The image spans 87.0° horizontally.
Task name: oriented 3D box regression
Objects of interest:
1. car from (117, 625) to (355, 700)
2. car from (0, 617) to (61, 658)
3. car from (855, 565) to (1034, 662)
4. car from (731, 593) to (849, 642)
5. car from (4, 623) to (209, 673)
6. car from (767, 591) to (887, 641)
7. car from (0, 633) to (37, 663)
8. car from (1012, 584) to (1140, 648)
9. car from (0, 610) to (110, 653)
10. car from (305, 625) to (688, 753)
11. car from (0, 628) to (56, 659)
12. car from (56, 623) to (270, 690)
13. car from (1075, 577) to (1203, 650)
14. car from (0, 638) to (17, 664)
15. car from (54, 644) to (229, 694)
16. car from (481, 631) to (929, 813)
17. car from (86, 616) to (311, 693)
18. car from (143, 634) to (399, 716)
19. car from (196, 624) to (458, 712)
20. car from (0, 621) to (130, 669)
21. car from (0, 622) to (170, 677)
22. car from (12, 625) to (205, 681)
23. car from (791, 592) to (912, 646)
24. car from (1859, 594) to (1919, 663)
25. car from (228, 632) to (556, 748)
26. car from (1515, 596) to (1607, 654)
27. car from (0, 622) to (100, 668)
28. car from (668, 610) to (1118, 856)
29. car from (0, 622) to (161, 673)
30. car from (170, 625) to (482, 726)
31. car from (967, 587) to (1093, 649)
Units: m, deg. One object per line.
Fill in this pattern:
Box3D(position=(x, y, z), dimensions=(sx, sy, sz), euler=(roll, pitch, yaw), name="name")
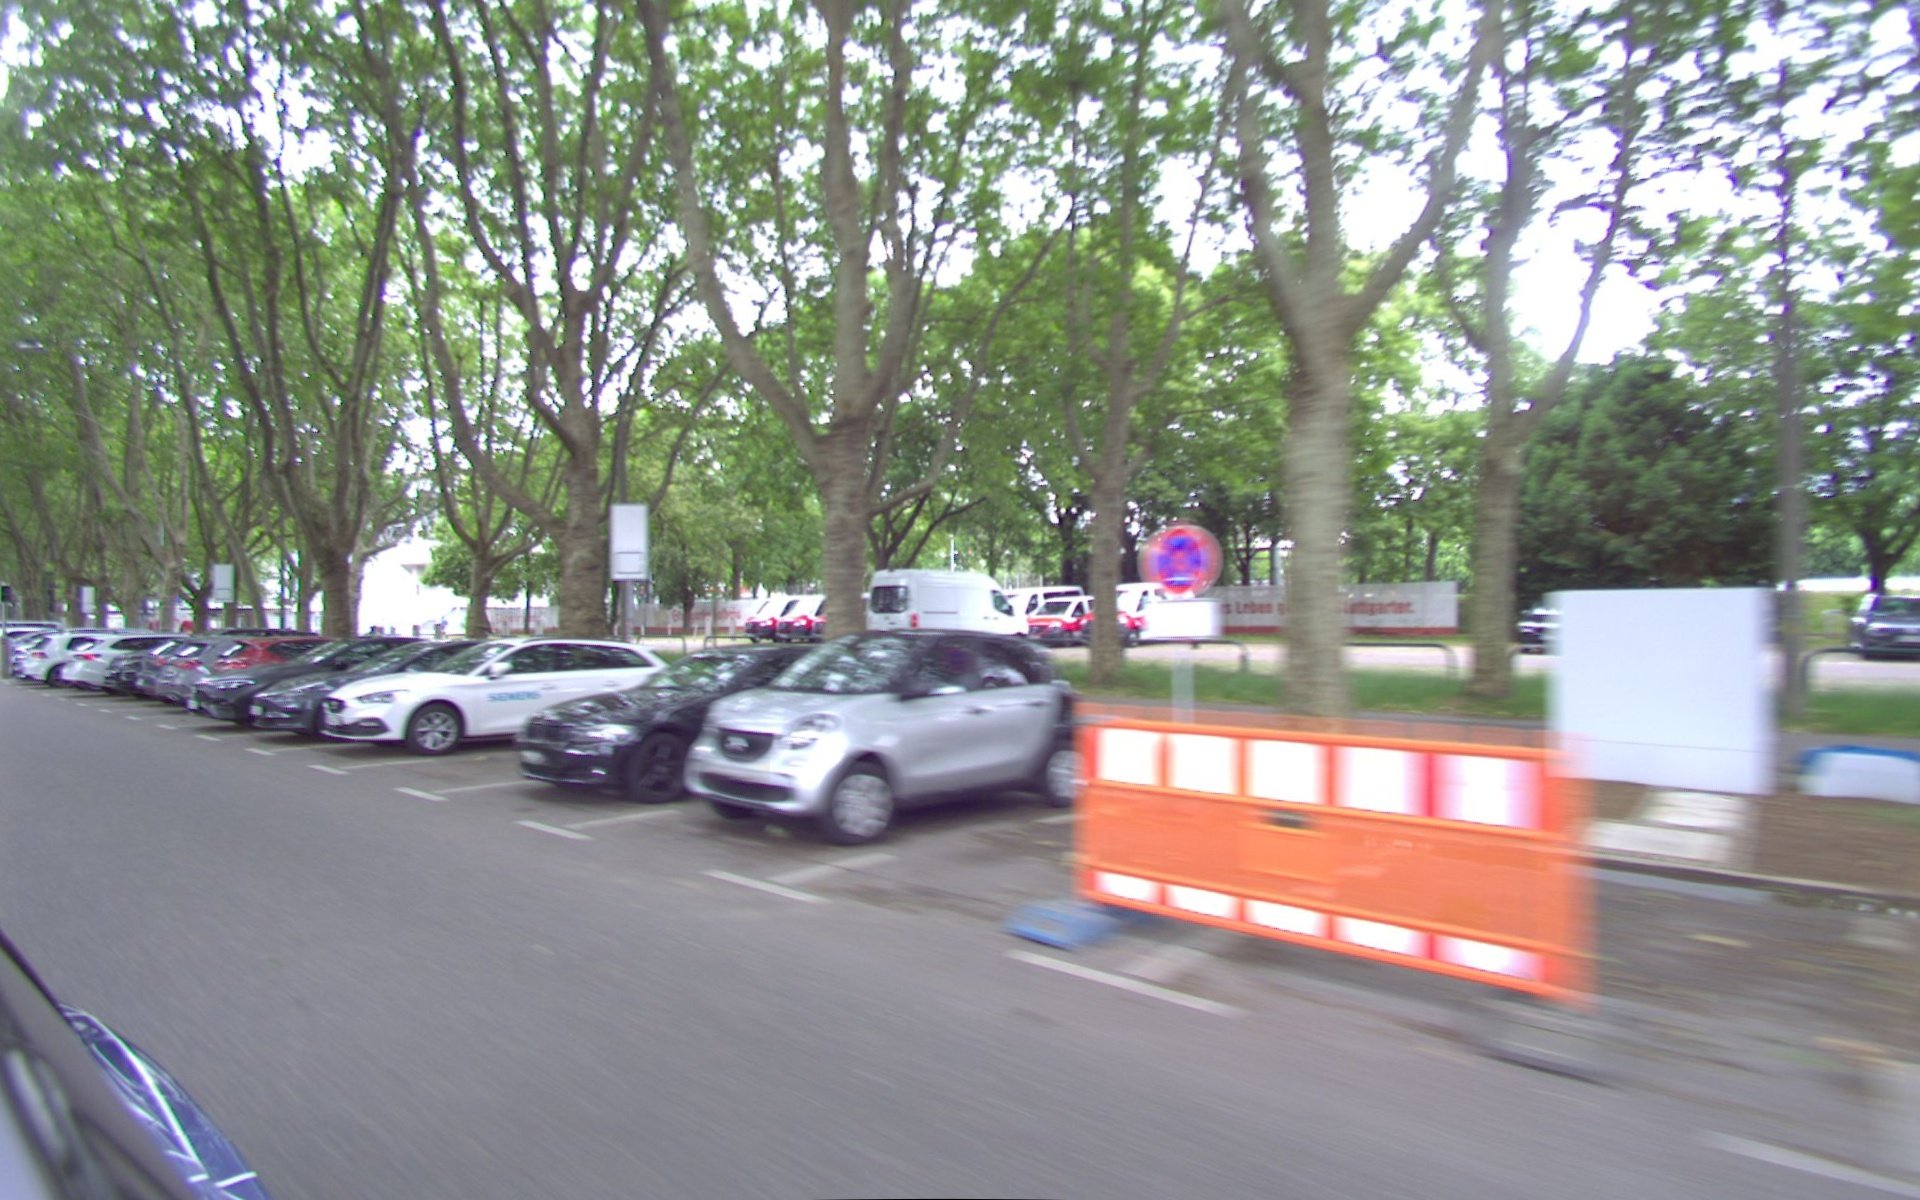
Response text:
Box3D(position=(-15.385, 1.293, 21.644), dimensions=(1.800, 1.441, 3.789), euler=(-2, -3, 39), name="car")
Box3D(position=(-48.930, 1.885, 51.168), dimensions=(1.917, 2.035, 4.847), euler=(-2, -3, 37), name="car")
Box3D(position=(-0.330, 0.344, 30.142), dimensions=(1.999, 2.617, 5.726), euler=(-2, -1, 41), name="car")
Box3D(position=(-8.450, 0.859, 50.957), dimensions=(1.999, 2.269, 5.941), euler=(-2, -1, 40), name="car")
Box3D(position=(-25.107, 1.410, 29.918), dimensions=(1.692, 1.375, 4.359), euler=(-2, -3, 38), name="car")
Box3D(position=(-6.379, 0.739, 49.300), dimensions=(1.999, 2.269, 5.941), euler=(-2, -1, 40), name="car")
Box3D(position=(-55.849, 2.718, 57.831), dimensions=(1.998, 1.680, 4.297), euler=(-2, -4, 39), name="car")
Box3D(position=(4.658, 0.571, 39.812), dimensions=(1.999, 2.322, 5.941), euler=(-2, -1, 40), name="car")
Box3D(position=(-36.172, 1.254, 39.846), dimensions=(1.950, 1.640, 3.790), euler=(-2, -3, 38), name="car")
Box3D(position=(-6.028, 1.088, 13.594), dimensions=(1.694, 1.441, 4.353), euler=(-2, -3, 43), name="car")
Box3D(position=(-45.501, 2.046, 47.524), dimensions=(1.775, 1.463, 4.398), euler=(-2, -3, 44), name="car")
Box3D(position=(-19.383, 1.349, 24.741), dimensions=(1.692, 1.509, 3.790), euler=(-2, -3, 38), name="car")
Box3D(position=(6.841, 0.445, 38.171), dimensions=(1.999, 2.546, 5.941), euler=(-2, -1, 40), name="car")
Box3D(position=(-57.972, 2.971, 59.104), dimensions=(1.840, 1.487, 3.948), euler=(-2, -4, 38), name="car")
Box3D(position=(-21.373, 1.767, 26.521), dimensions=(1.582, 1.212, 3.284), euler=(-2, -3, 37), name="car")
Box3D(position=(-2.319, 1.064, 10.271), dimensions=(1.692, 1.441, 4.291), euler=(-2, -3, 38), name="car")
Box3D(position=(-17.528, 1.240, 23.444), dimensions=(1.856, 1.621, 3.791), euler=(-2, -3, 37), name="car")
Box3D(position=(-13.383, 1.411, 19.841), dimensions=(1.692, 1.441, 3.790), euler=(-2, -3, 38), name="car")
Box3D(position=(-11.501, 1.194, 18.550), dimensions=(1.695, 1.441, 3.783), euler=(-2, -3, 45), name="car")
Box3D(position=(-32.173, 1.611, 35.998), dimensions=(1.831, 1.620, 3.790), euler=(-2, -3, 38), name="car")
Box3D(position=(-27.361, 1.544, 31.694), dimensions=(1.692, 1.620, 3.790), euler=(-2, -3, 38), name="car")
Box3D(position=(-23.328, 1.439, 27.844), dimensions=(1.692, 1.441, 3.790), euler=(-2, -3, 38), name="car")
Box3D(position=(-5.025, 0.856, 47.736), dimensions=(1.999, 2.335, 5.941), euler=(-2, -1, 40), name="car")
Box3D(position=(22.529, 0.624, 23.948), dimensions=(1.677, 1.497, 3.764), euler=(-2, -1, 39), name="car")
Box3D(position=(-8.127, 1.216, 14.767), dimensions=(1.692, 1.441, 3.790), euler=(-1, -2, 38), name="car")
Box3D(position=(17.032, 0.674, 28.606), dimensions=(1.677, 1.497, 3.764), euler=(-2, -1, 39), name="car")
Box3D(position=(-34.716, 1.668, 37.586), dimensions=(1.799, 1.620, 4.023), euler=(-2, -3, 43), name="car")
Box3D(position=(-0.345, 0.935, 8.505), dimensions=(1.692, 1.566, 3.790), euler=(-2, -3, 38), name="car")
Box3D(position=(-30.273, 1.617, 34.879), dimensions=(1.692, 1.620, 4.005), euler=(-1, -3, 38), name="car")
Box3D(position=(-10.185, 1.167, 16.528), dimensions=(1.692, 1.441, 3.982), euler=(-2, -3, 38), name="car")
Box3D(position=(2.992, 0.696, 41.545), dimensions=(1.999, 2.347, 5.941), euler=(-2, -1, 40), name="car")
